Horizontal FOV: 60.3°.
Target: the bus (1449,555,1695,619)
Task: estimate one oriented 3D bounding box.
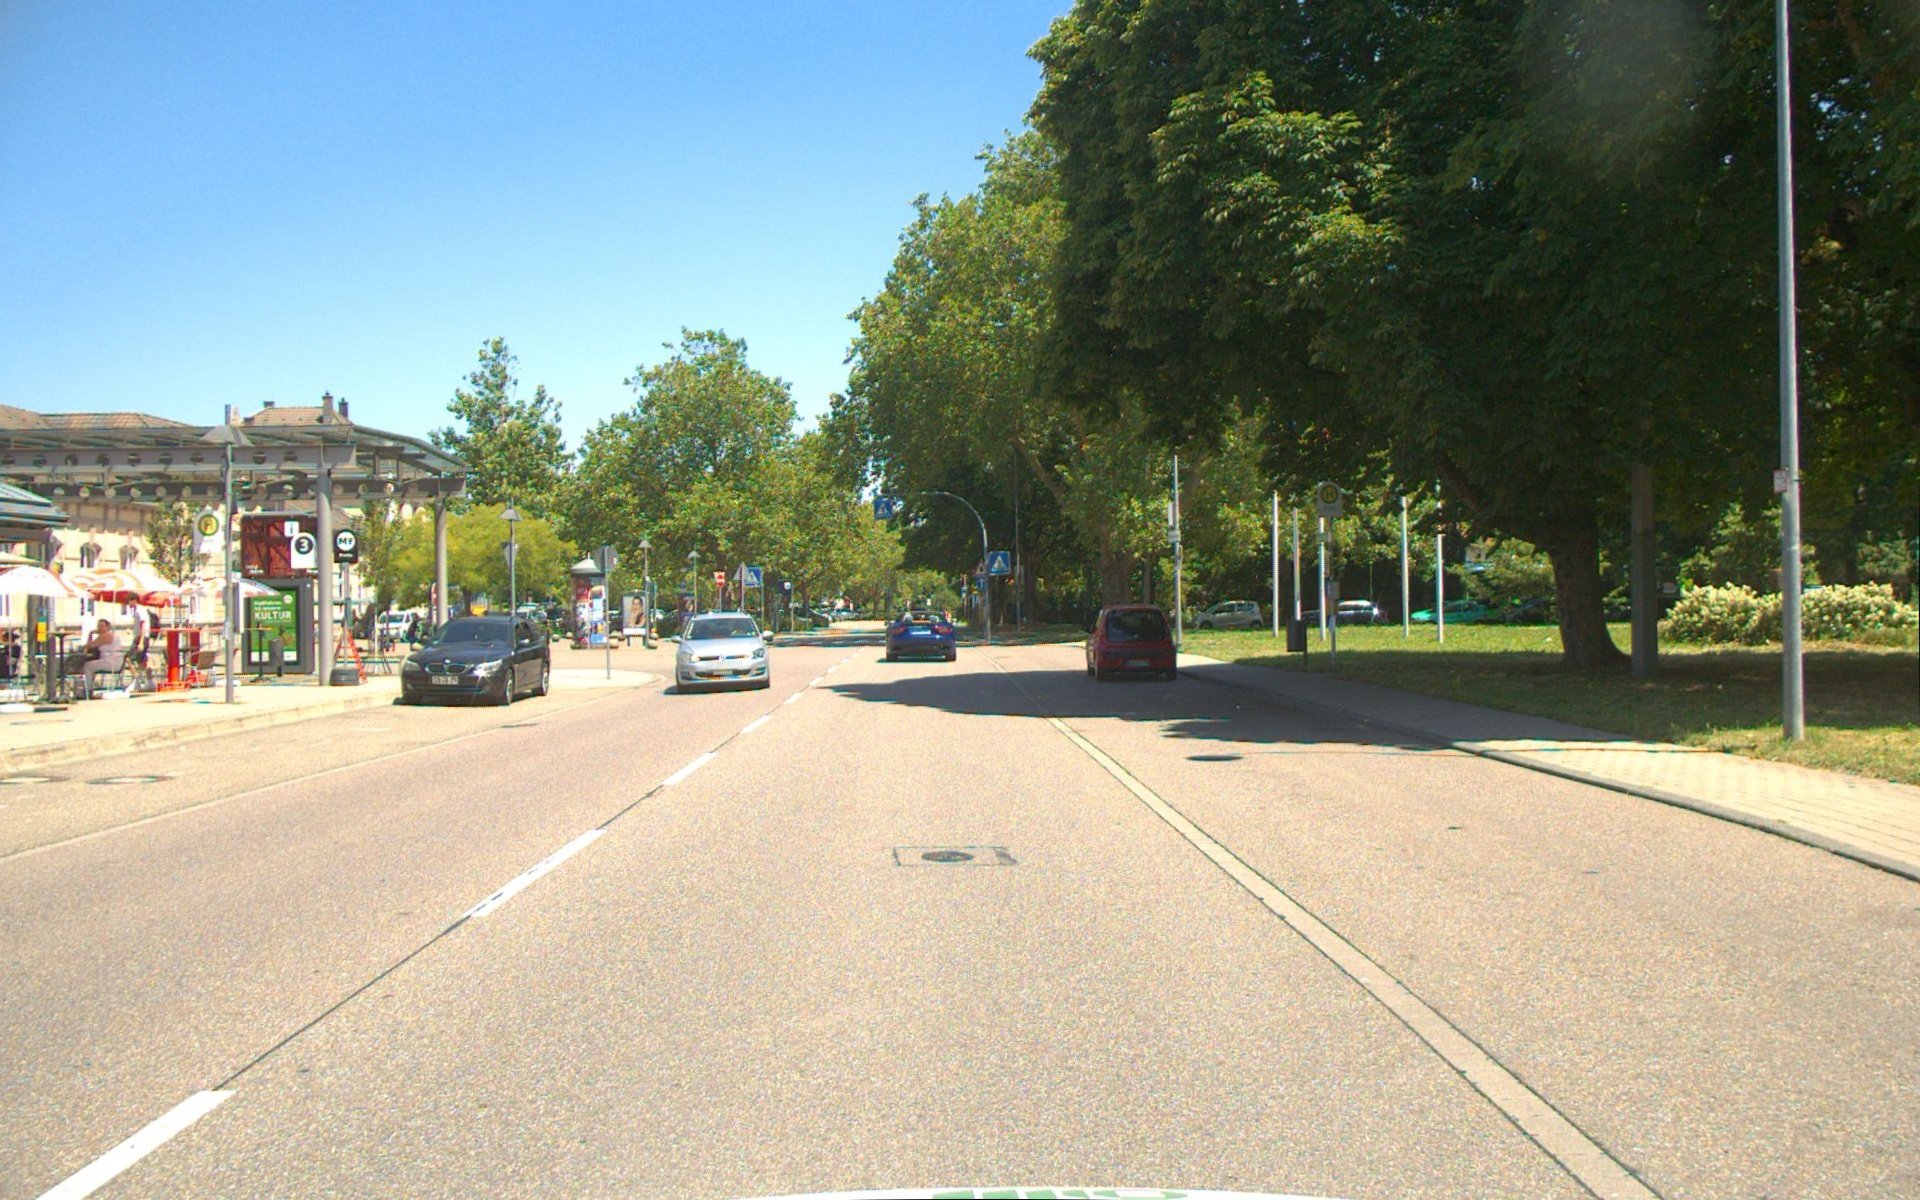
[{"bbox_3d":[32.191,-0.657,87.209,12.128,3.030,2.267,-1,-1,-2],"label":"bus"}]

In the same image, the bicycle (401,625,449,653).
[{"bbox_3d":[-21.136,1.526,65.392,1.770,1.049,0.485,-1,-1,-25],"label":"bicycle"}]

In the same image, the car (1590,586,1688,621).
[{"bbox_3d":[33.396,0.202,81.453,4.013,1.637,2.000,-1,-1,0],"label":"car"}]

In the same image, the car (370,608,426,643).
[{"bbox_3d":[-32.622,1.467,96.144,1.716,1.951,4.773,-1,0,-2],"label":"car"}]

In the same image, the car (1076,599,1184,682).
[{"bbox_3d":[3.342,0.777,33.160,1.684,1.504,3.705,-2,0,-1],"label":"car"}]

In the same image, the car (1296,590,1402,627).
[{"bbox_3d":[18.973,0.406,80.901,4.723,1.635,2.001,-1,0,2],"label":"car"}]

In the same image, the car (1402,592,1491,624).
[{"bbox_3d":[23.890,0.410,81.298,3.801,1.479,2.000,-1,-1,1],"label":"car"}]

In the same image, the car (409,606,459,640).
[{"bbox_3d":[-32.714,1.410,102.974,1.954,2.049,3.997,-1,0,-3],"label":"car"}]

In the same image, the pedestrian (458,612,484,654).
[{"bbox_3d":[-20.194,1.370,68.329,0.744,1.688,0.721,-2,-2,15],"label":"pedestrian"}]

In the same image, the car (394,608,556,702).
[{"bbox_3d":[-8.640,0.924,29.863,1.684,1.504,4.783,-2,0,-3],"label":"car"}]

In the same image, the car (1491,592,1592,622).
[{"bbox_3d":[28.577,0.351,81.359,4.249,1.441,1.999,-1,-1,-1],"label":"car"}]

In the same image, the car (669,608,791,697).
[{"bbox_3d":[-4.423,0.969,32.344,1.778,1.469,4.157,-4,1,-1],"label":"car"}]

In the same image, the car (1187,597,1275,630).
[{"bbox_3d":[13.290,0.667,81.275,4.019,1.492,2.001,-1,0,3],"label":"car"}]

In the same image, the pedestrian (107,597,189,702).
[{"bbox_3d":[-14.749,0.897,30.066,0.782,1.860,1.143,-2,-2,15],"label":"pedestrian"}]

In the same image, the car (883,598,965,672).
[{"bbox_3d":[-0.970,0.914,44.677,2.082,1.881,4.047,-1,-1,-1],"label":"car"}]

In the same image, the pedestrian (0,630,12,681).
[{"bbox_3d":[-18.790,1.085,32.218,0.415,0.989,0.372,-2,-2,11],"label":"pedestrian"}]
